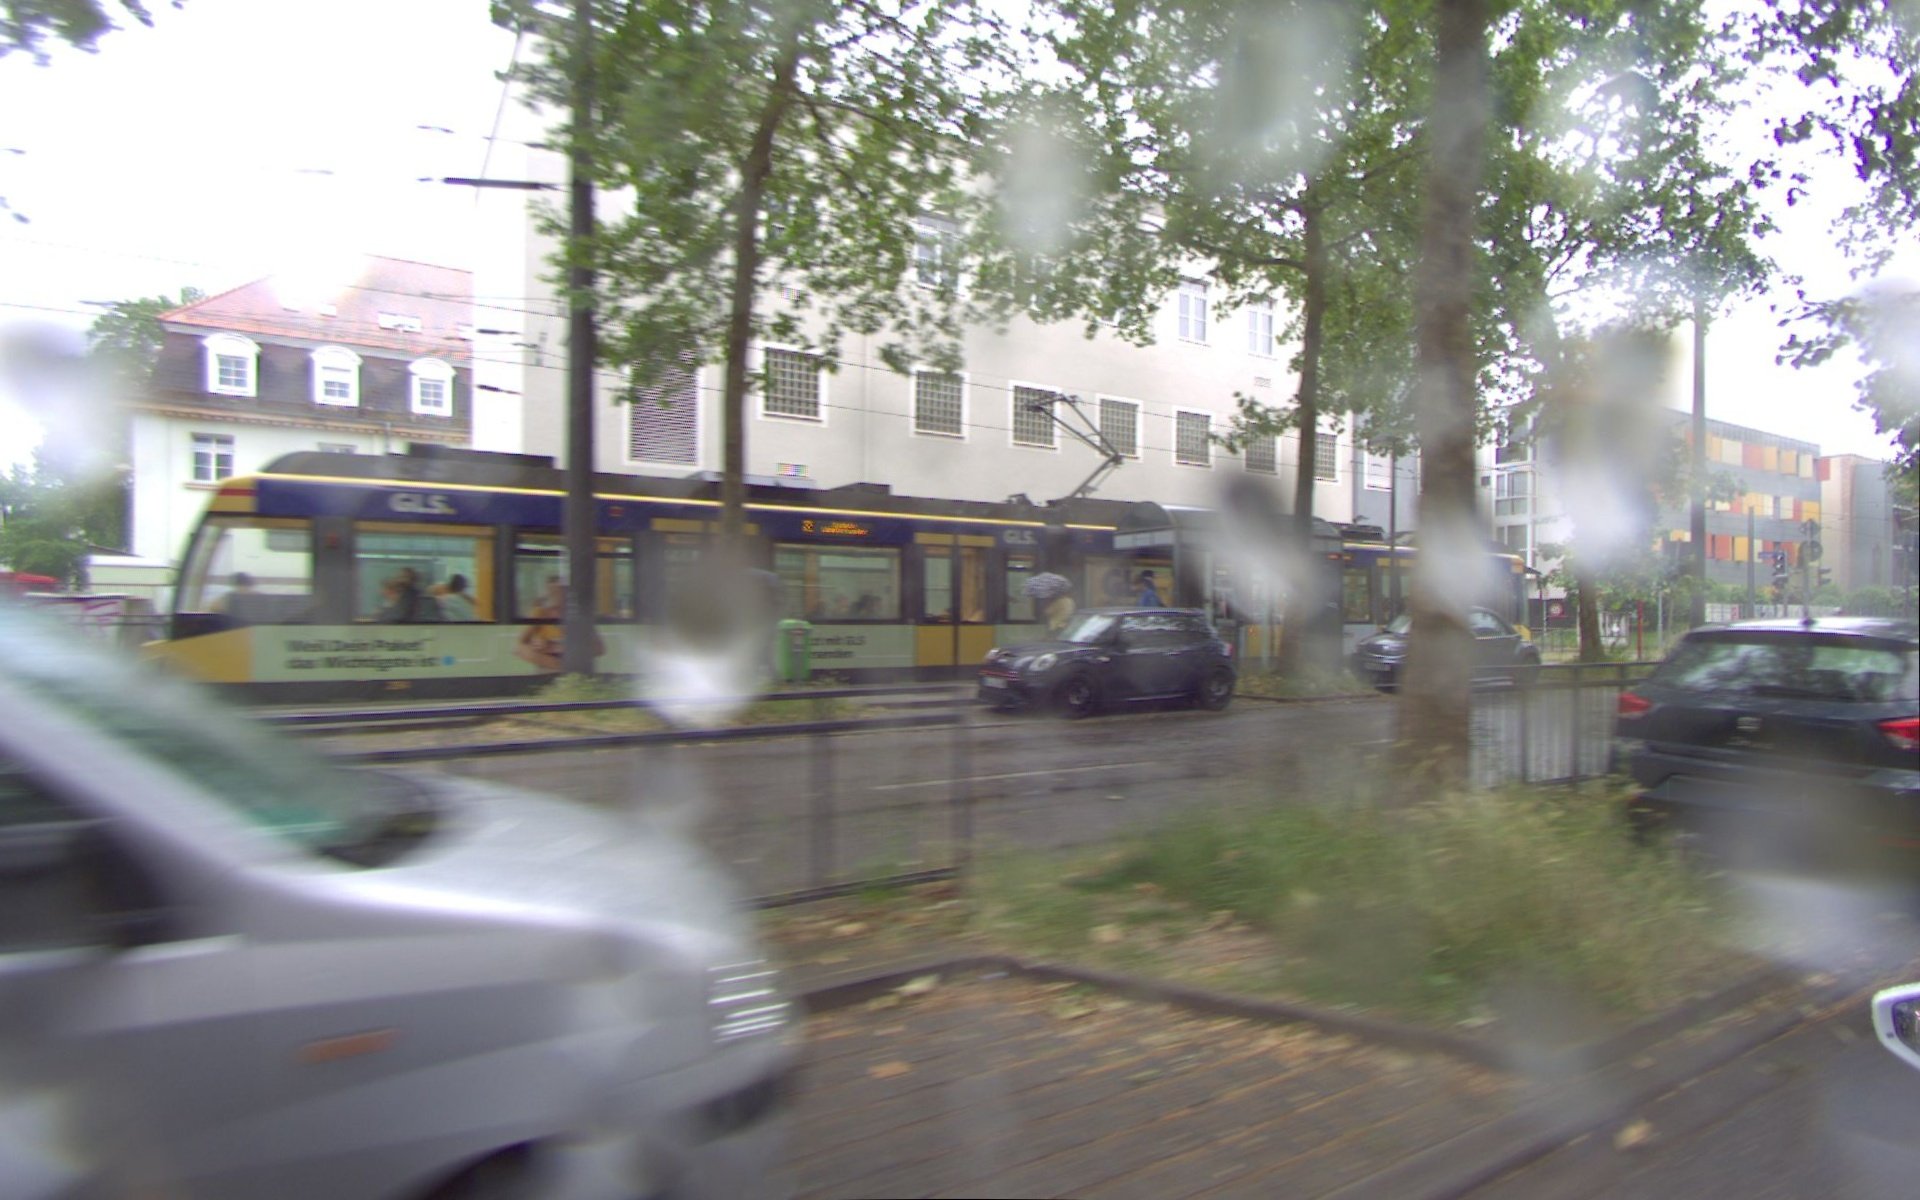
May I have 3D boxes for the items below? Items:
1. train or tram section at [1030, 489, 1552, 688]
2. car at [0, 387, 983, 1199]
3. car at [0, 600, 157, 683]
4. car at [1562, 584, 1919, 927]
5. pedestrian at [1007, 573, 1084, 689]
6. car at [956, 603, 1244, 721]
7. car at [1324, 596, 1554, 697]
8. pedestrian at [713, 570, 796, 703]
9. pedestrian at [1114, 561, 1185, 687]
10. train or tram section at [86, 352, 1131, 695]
[{"bbox_3d":[8.414,0.098,23.463,14.515,3.605,3.089,3,-2,-32],"label":"train or tram section"},{"bbox_3d":[-1.896,0.587,1.683,3.621,1.704,1.613,0,1,-34],"label":"car"},{"bbox_3d":[-18.193,0.789,20.883,1.589,1.562,3.663,1,0,-26],"label":"car"},{"bbox_3d":[5.689,0.734,6.231,4.073,1.520,1.640,1,1,-32],"label":"car"},{"bbox_3d":[1.308,0.464,15.436,0.862,1.726,0.813,1,0,-32],"label":"pedestrian"},{"bbox_3d":[1.978,0.776,13.937,3.714,1.361,1.729,1,2,-32],"label":"car"},{"bbox_3d":[8.736,0.783,18.269,3.956,1.634,1.982,1,0,-32],"label":"car"},{"bbox_3d":[-2.782,0.480,13.570,0.862,1.726,0.813,1,0,-32],"label":"pedestrian"},{"bbox_3d":[3.189,0.393,16.925,0.810,2.040,0.866,1,0,-28],"label":"pedestrian"},{"bbox_3d":[-3.806,-0.495,15.718,14.419,3.605,3.089,3,-2,-33],"label":"train or tram section"}]
